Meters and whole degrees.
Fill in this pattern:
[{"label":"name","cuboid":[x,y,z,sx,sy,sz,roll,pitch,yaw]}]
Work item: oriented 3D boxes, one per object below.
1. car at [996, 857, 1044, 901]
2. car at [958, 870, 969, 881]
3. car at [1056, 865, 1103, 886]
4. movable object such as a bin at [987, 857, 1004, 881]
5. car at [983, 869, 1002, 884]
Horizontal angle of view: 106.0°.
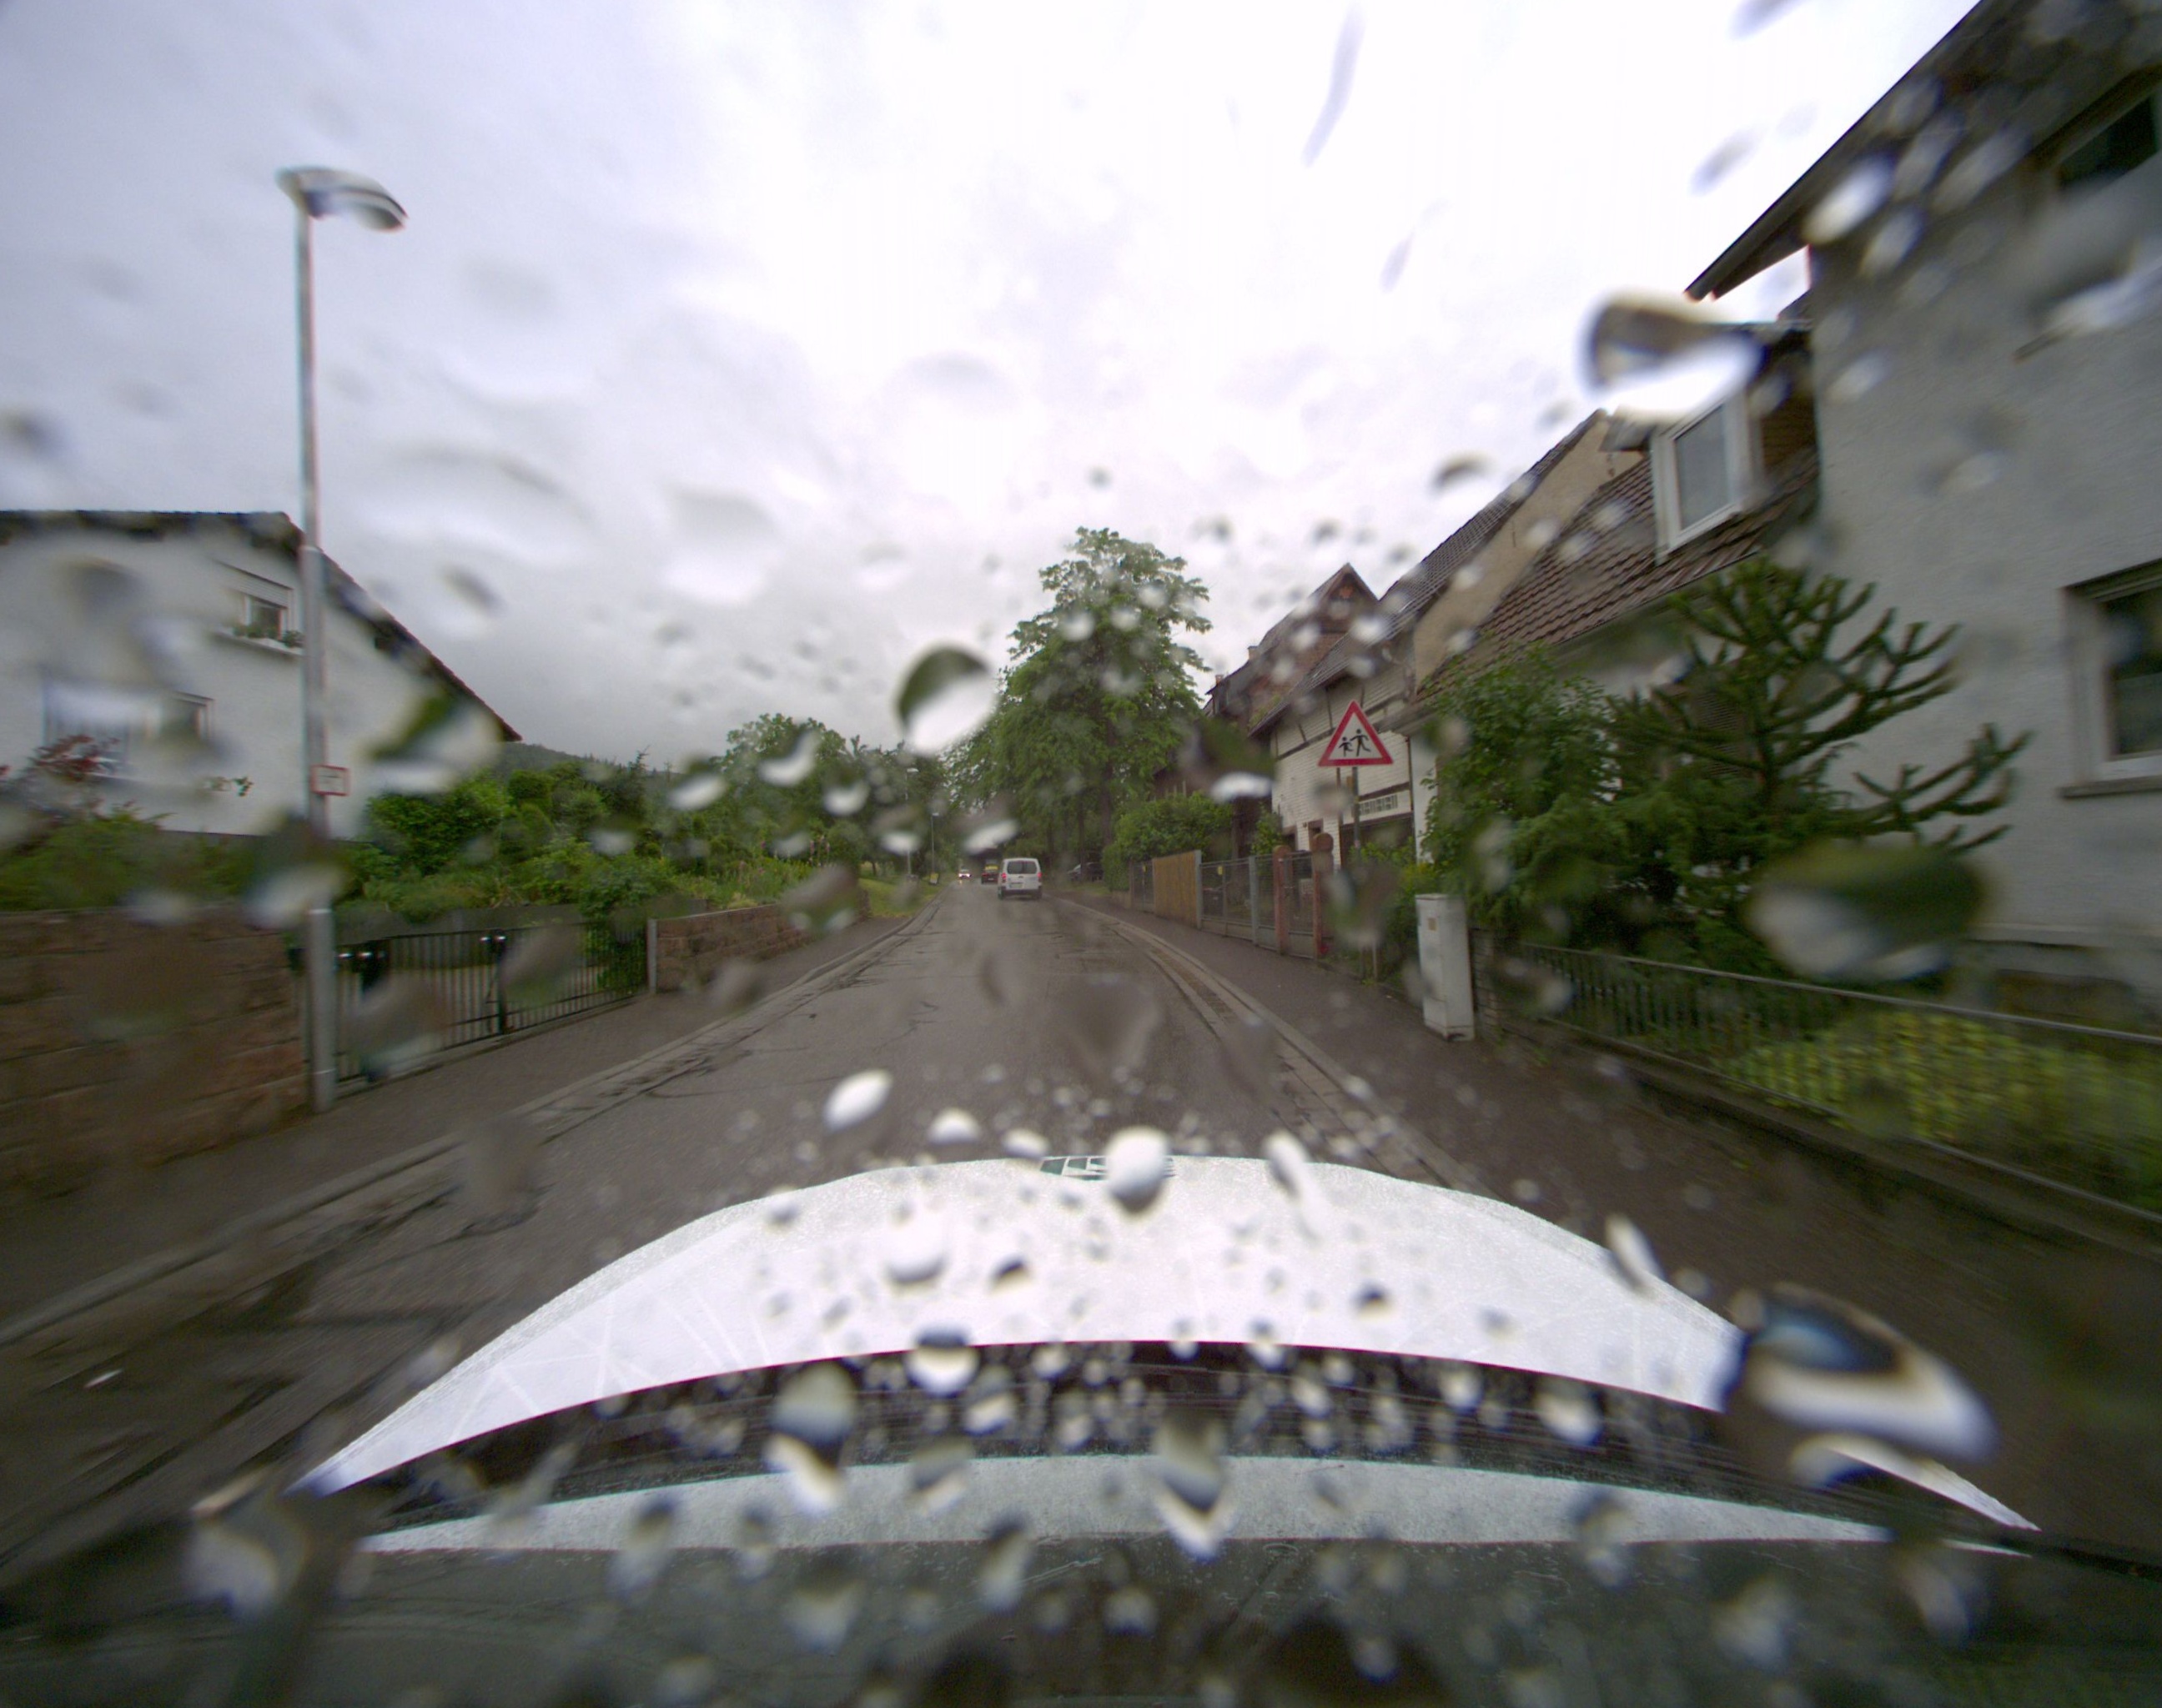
[{"label":"car","cuboid":[-2.758,1.092,36.289,1.895,1.807,3.990,-2,-1,-7]},{"label":"car","cuboid":[-21.234,3.889,147.136,1.823,1.832,4.293,-1,-2,-9]},{"label":"car","cuboid":[-0.110,1.698,65.490,3.634,1.551,1.602,0,-3,-44]},{"label":"movable object such as a bin","cuboid":[-9.578,1.716,91.405,1.758,2.548,4.230,0,-2,-5]},{"label":"car","cuboid":[-8.632,2.238,79.546,1.706,1.378,3.992,0,-2,-5]}]
